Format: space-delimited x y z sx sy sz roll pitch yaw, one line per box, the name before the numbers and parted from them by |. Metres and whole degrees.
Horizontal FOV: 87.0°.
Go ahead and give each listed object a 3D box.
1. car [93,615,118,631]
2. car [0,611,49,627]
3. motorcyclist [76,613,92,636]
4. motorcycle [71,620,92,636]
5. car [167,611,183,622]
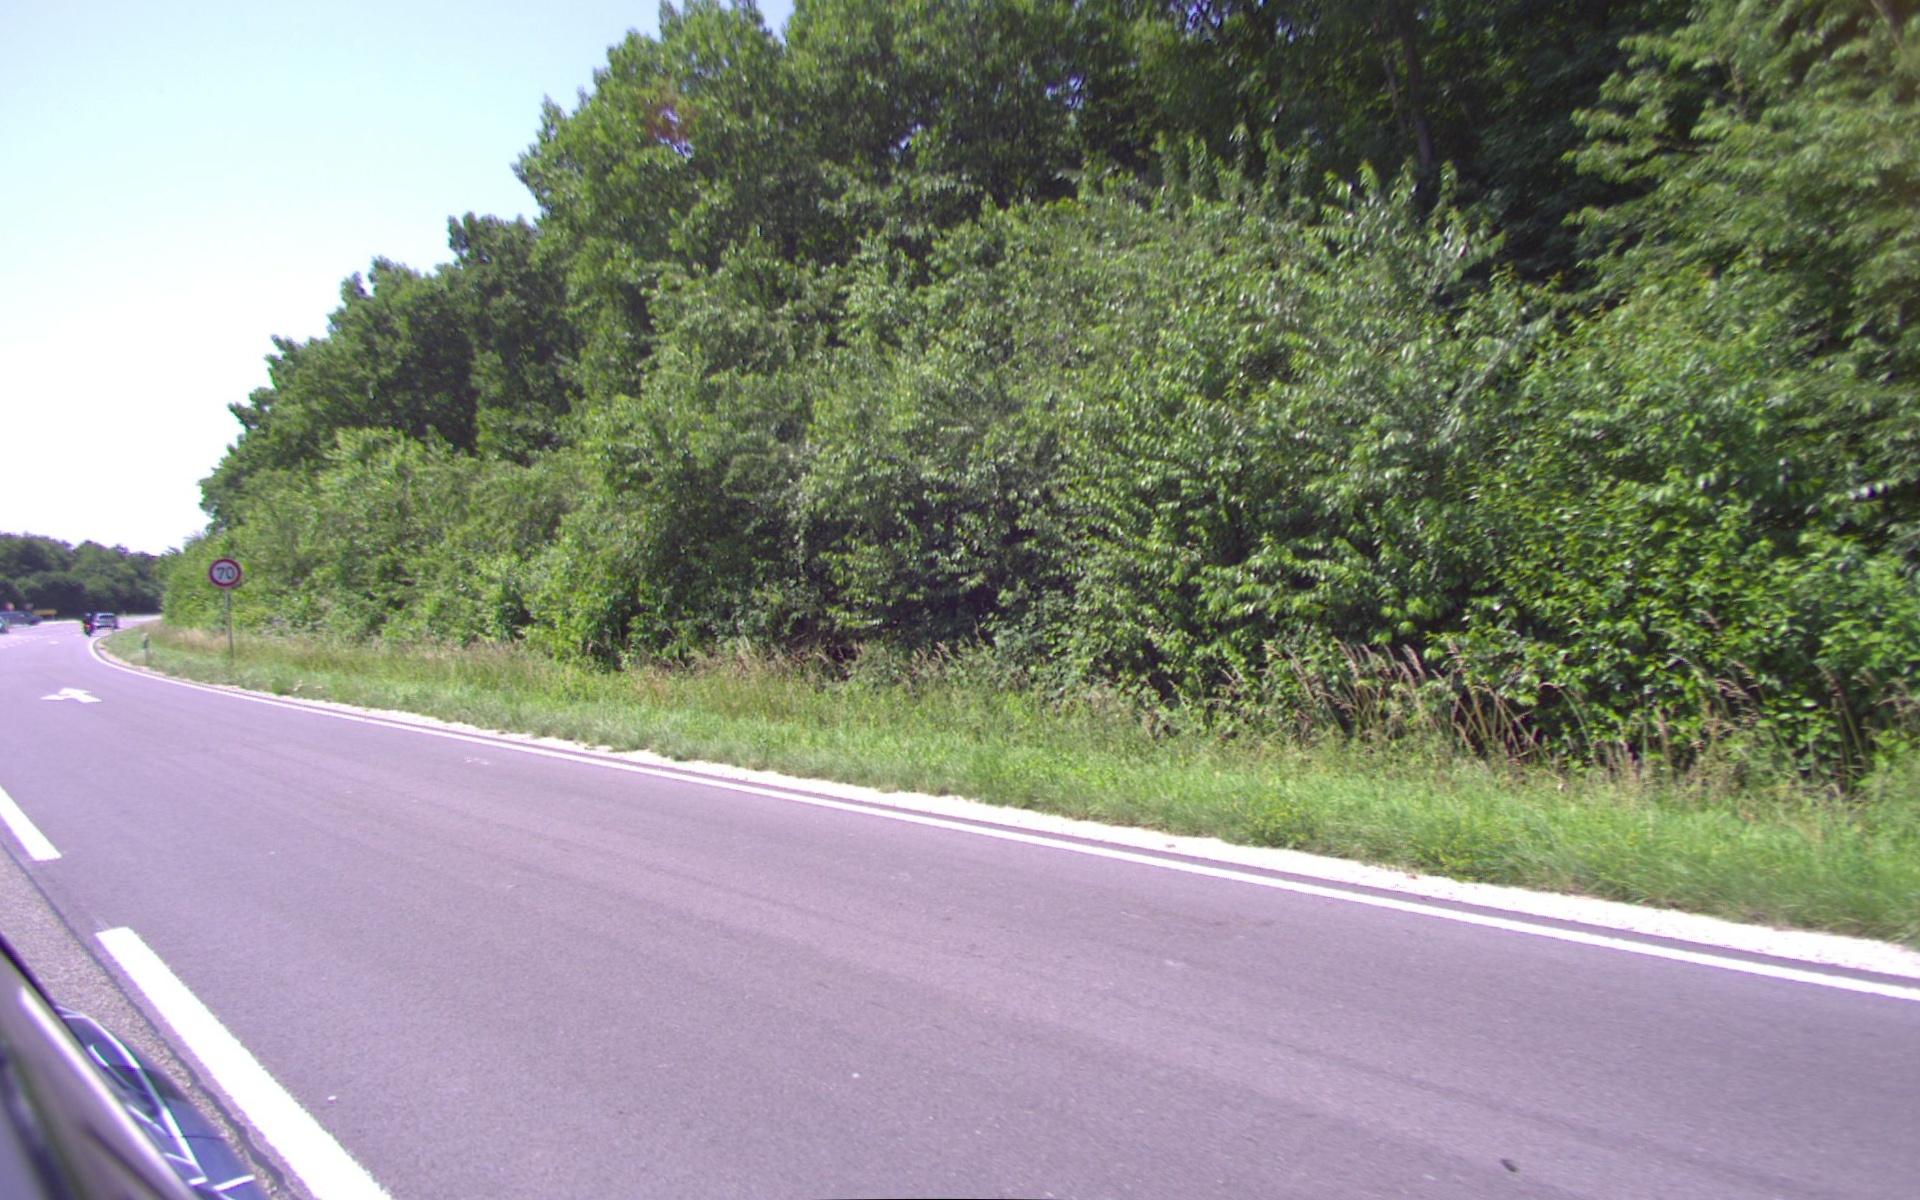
car | -92.687 2.508 109.816 1.781 1.649 4.215 -1 0 -44
car | -122.634 2.480 132.122 2.011 1.921 5.163 0 2 38
motorcyclist | -68.675 1.920 79.337 0.623 1.765 0.822 -1 0 42
motorcycle | -69.198 2.197 79.695 2.682 1.260 0.936 -1 0 43
car | -129.814 2.740 167.287 1.778 1.649 4.223 -1 0 -34
